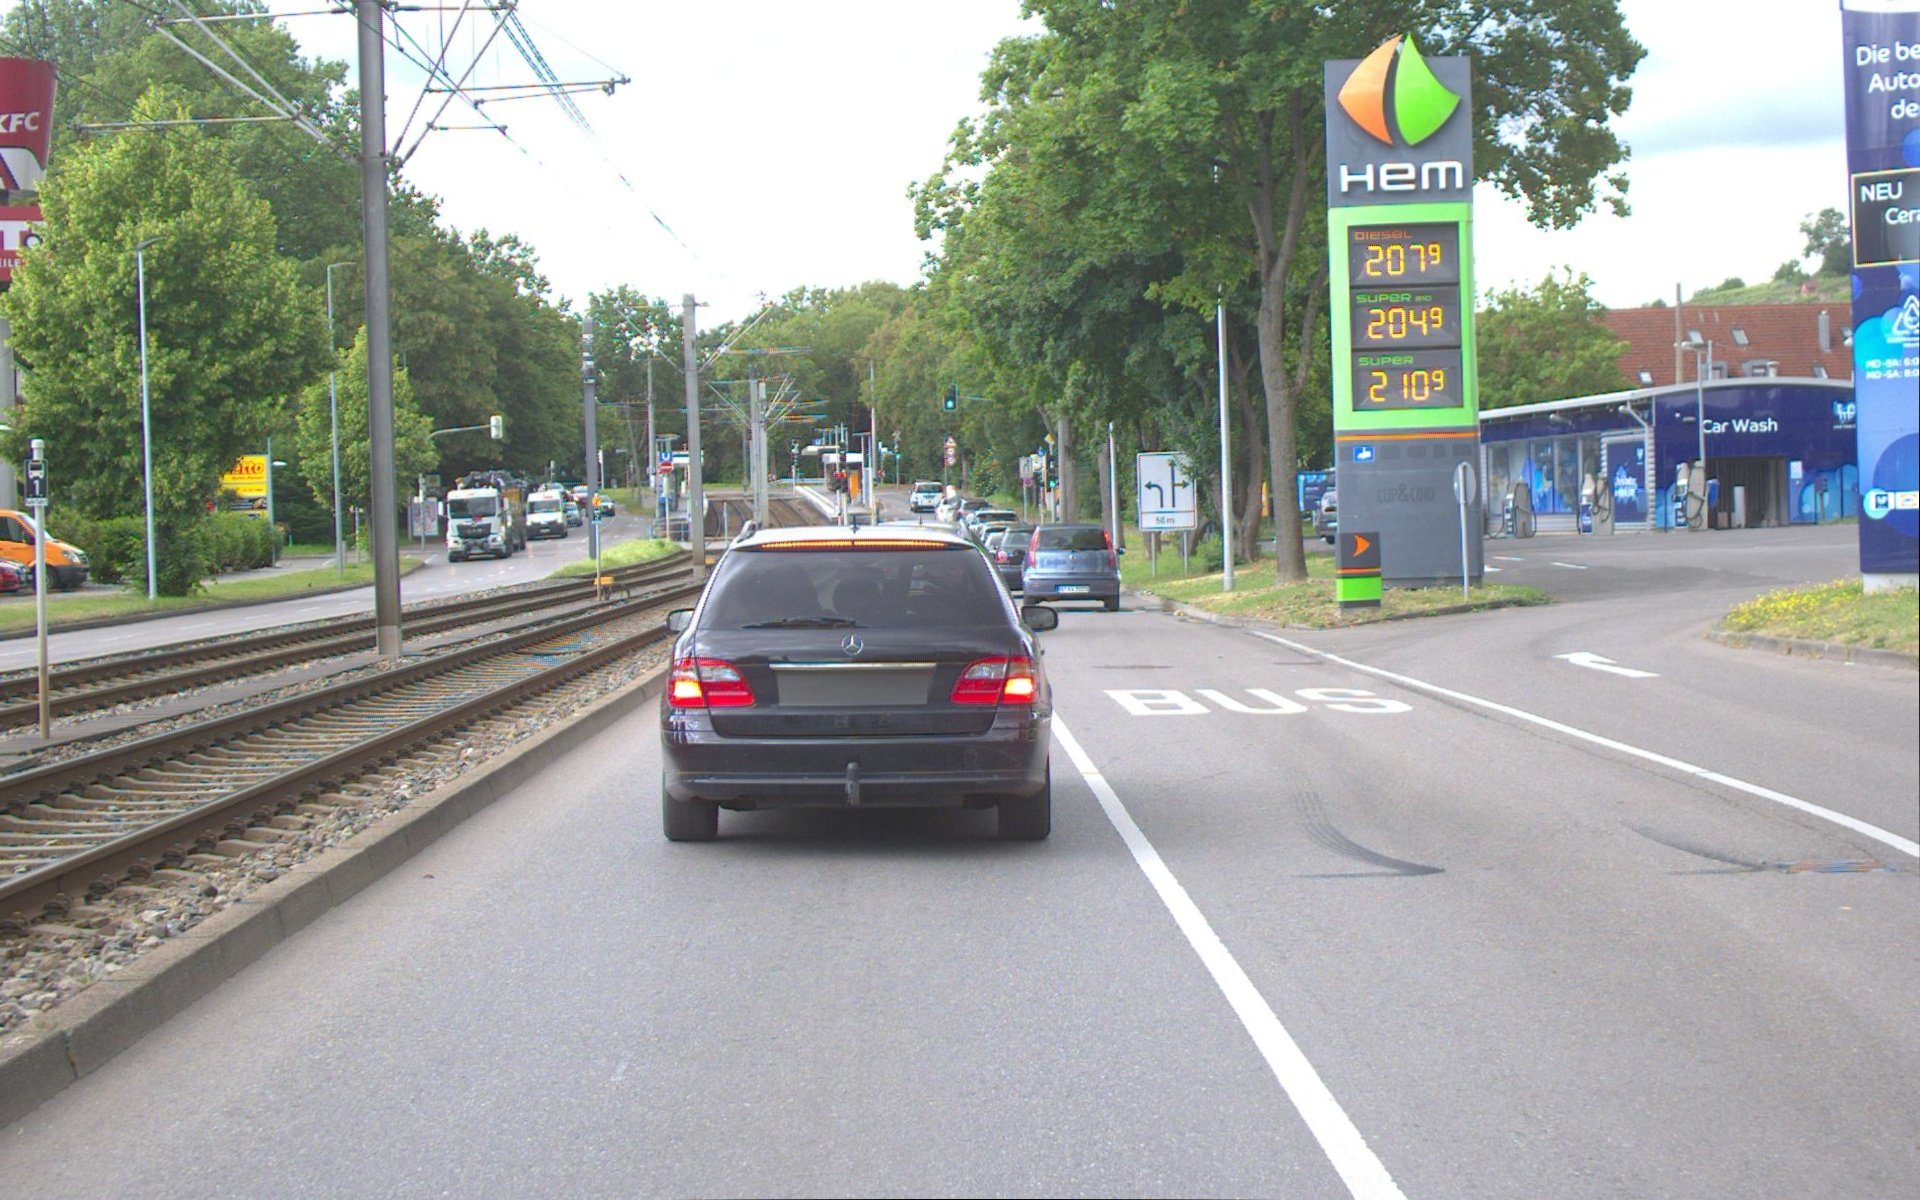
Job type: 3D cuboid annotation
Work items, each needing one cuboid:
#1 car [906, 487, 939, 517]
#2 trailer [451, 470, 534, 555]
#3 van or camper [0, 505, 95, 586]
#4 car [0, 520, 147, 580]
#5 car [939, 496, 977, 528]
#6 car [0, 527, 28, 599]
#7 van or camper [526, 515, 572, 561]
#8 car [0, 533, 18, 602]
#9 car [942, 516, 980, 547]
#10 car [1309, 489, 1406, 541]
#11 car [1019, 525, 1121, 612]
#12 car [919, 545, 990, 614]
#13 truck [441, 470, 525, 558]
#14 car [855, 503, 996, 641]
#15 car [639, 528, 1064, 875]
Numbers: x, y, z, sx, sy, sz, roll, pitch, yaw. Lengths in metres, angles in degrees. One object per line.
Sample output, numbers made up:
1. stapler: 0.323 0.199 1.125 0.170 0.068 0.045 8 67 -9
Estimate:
1. car: -2.348 -6.114 214.114 1.993 1.831 4.000 0 1 -1
2. trailer: -21.344 -3.971 157.552 2.704 3.648 13.301 -2 1 -4
3. van or camper: -25.069 -1.443 90.967 3.986 2.127 1.878 0 1 -5
4. car: -25.729 -1.447 99.520 3.986 1.594 1.797 -2 1 -5
5. car: -0.115 -4.877 191.628 1.993 1.708 4.000 -2 1 -1
6. car: -25.486 -0.923 85.883 3.986 1.791 1.878 0 1 -5
7. van or camper: -22.005 -3.312 184.224 1.993 2.346 5.766 -2 1 -3
8. car: -24.341 -0.704 80.712 3.986 1.594 1.878 -2 1 -5
9. car: 0.049 -3.432 173.143 1.666 1.527 3.771 0 1 -4
10. car: 13.722 -2.944 118.419 2.008 1.677 4.574 -1 1 24
11. car: 1.833 -0.538 58.049 1.571 1.410 3.354 0 1 -1
12. car: -0.142 -0.450 73.304 1.466 1.410 3.354 0 1 -1
13. truck: -20.966 -3.742 151.543 2.706 3.651 11.114 -2 1 -4
14. car: -0.464 -0.377 45.567 1.780 1.744 3.718 0 1 -1
15. car: -0.486 0.391 16.593 1.808 1.469 3.881 0 1 -1
